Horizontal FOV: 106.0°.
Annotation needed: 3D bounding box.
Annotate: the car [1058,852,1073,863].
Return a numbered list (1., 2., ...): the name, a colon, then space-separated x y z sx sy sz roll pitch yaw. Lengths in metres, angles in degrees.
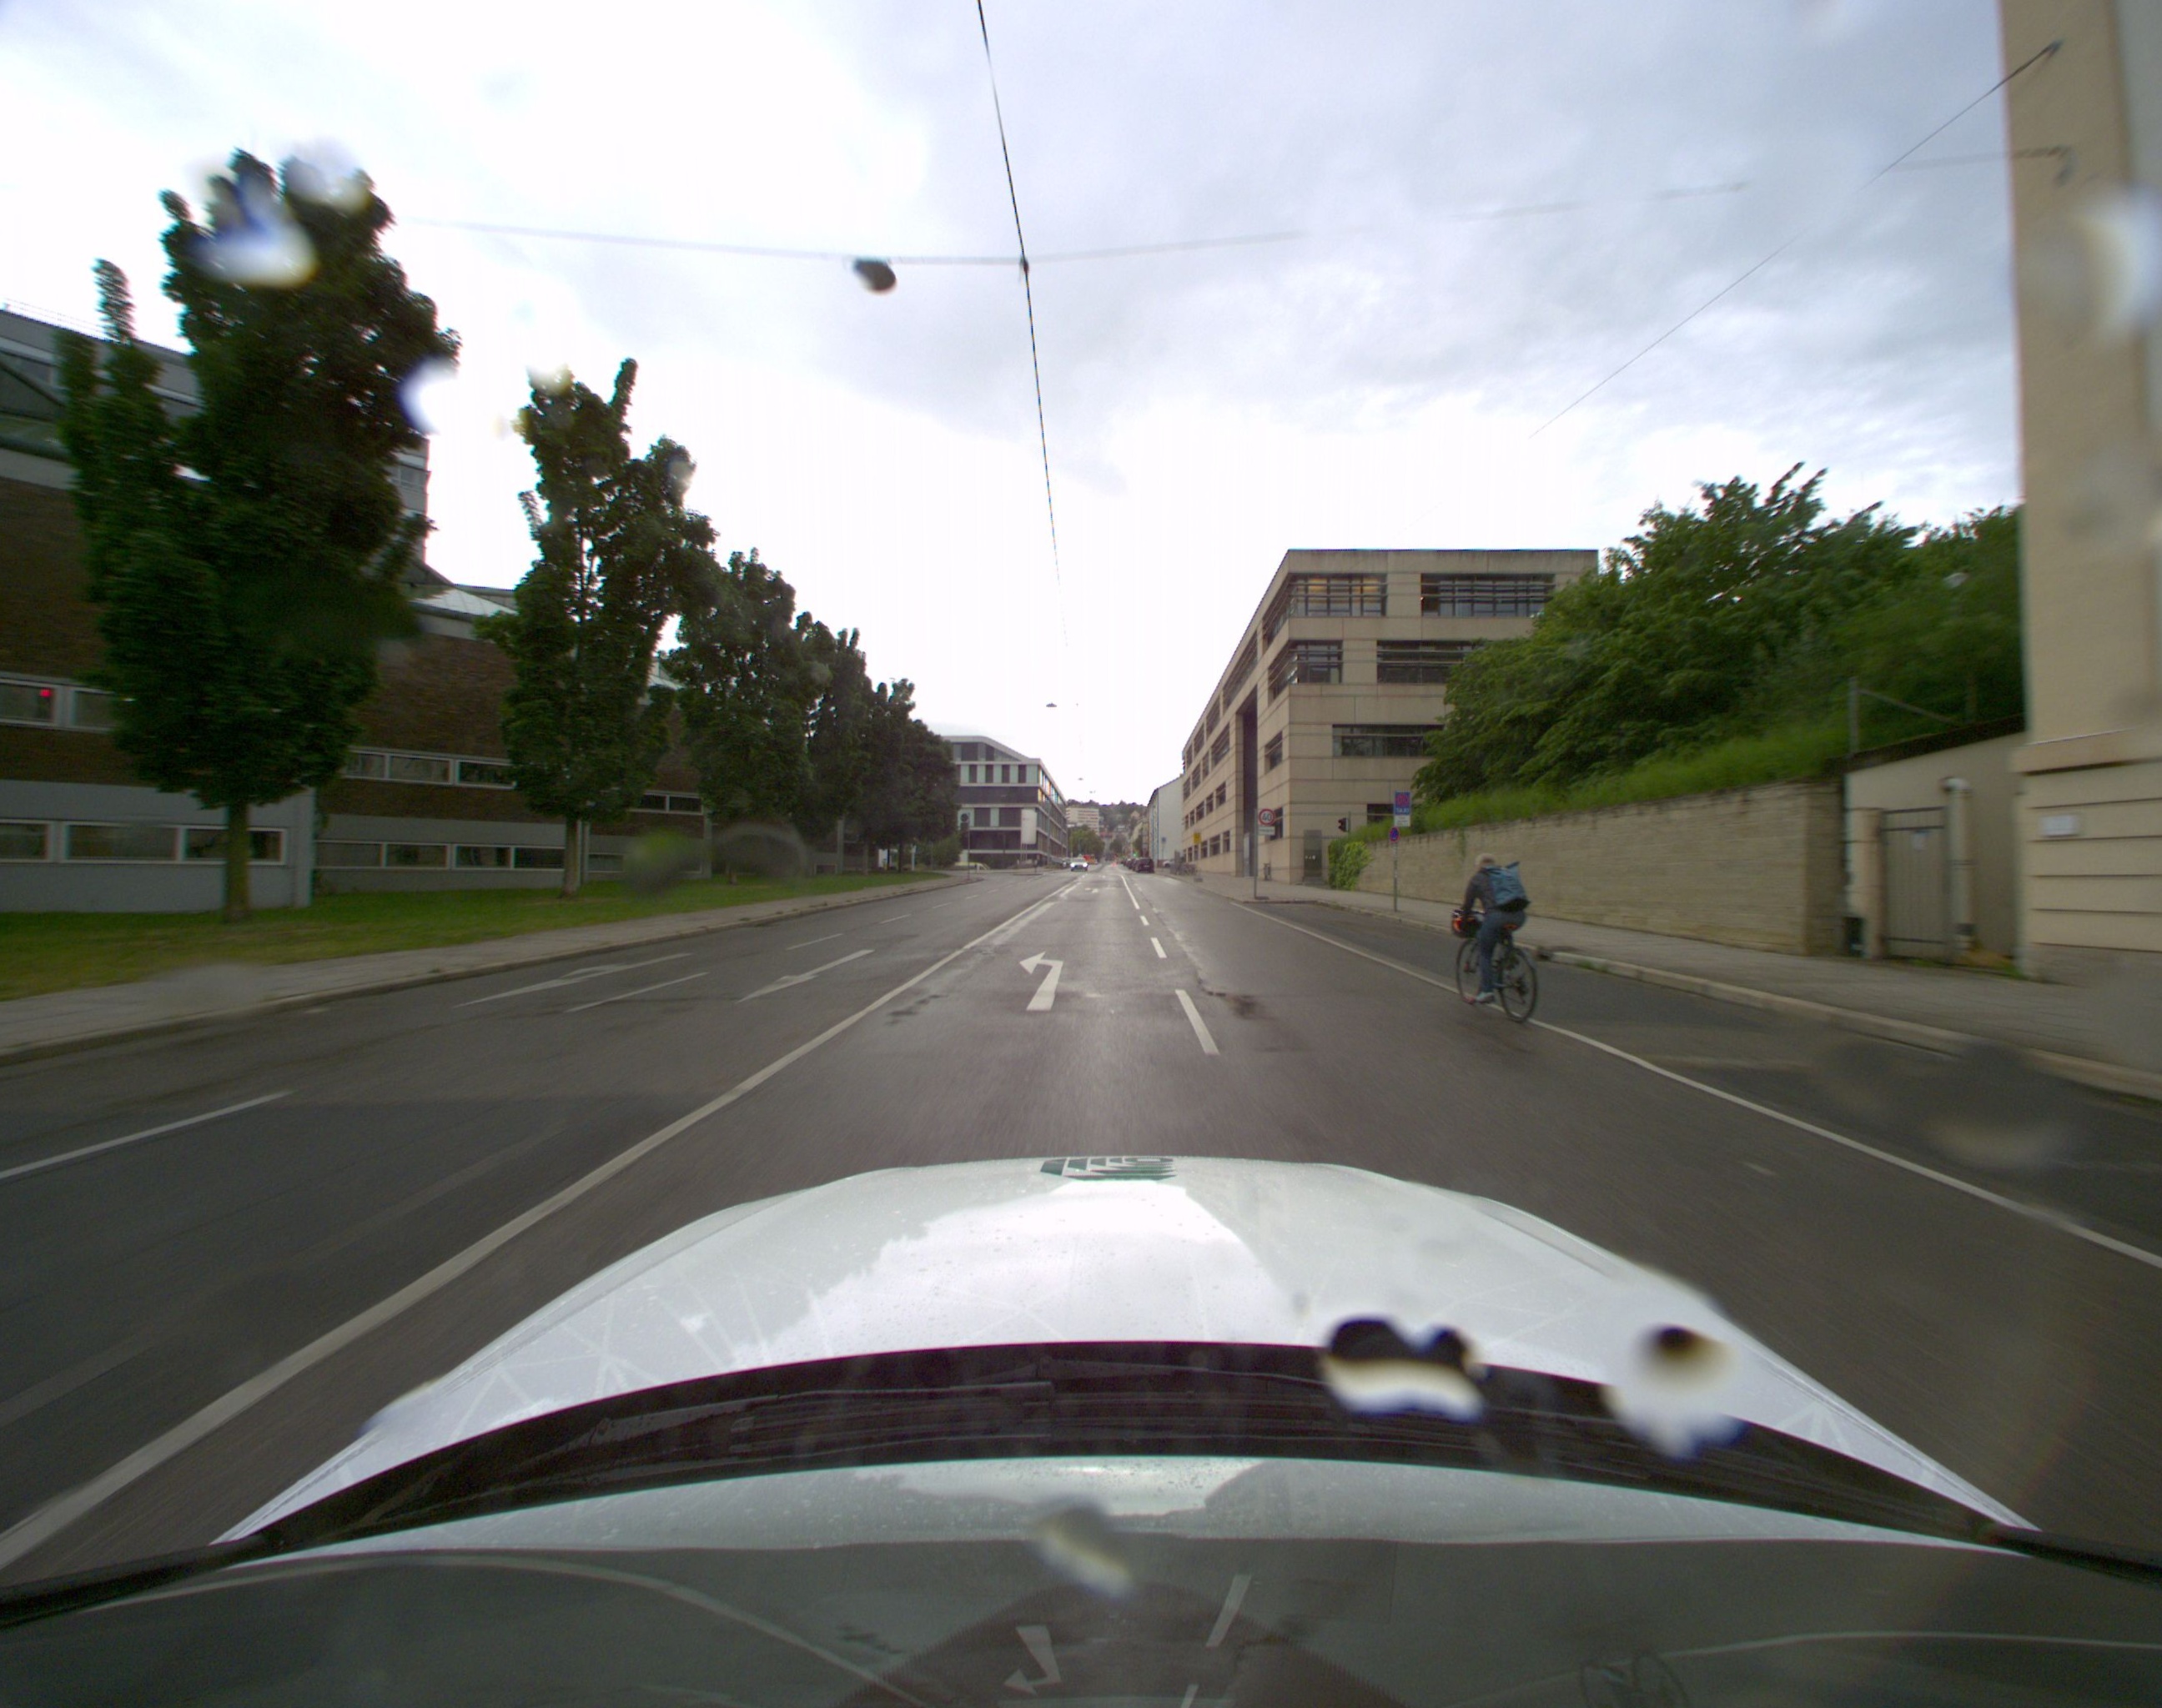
1. car: -2.562 0.541 134.443 1.954 1.750 4.947 1 0 4

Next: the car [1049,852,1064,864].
1. car: -3.481 0.568 117.606 1.842 1.617 4.493 1 0 2

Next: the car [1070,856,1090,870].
1. car: -0.097 1.080 97.300 1.873 1.491 5.226 -2 0 5

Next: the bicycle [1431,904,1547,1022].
1. bicycle: 4.129 1.054 8.359 0.445 0.963 1.692 1 0 4

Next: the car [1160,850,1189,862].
1. car: 15.039 0.315 130.529 4.422 1.713 1.905 -2 -1 1

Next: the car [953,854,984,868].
1. car: -17.987 1.129 130.307 4.581 2.174 1.928 1 -1 -4

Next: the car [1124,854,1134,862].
1. car: 9.223 0.809 156.458 1.700 1.454 3.986 1 0 2

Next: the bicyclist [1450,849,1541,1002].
1. bicyclist: 4.132 0.682 8.166 0.482 1.433 0.931 1 -1 4

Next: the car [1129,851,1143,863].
1. car: 8.204 0.509 121.855 1.928 1.750 4.798 1 0 2

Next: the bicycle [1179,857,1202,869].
1. bicycle: 8.763 0.753 65.423 1.753 0.953 0.659 0 -1 -2

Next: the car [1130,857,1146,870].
1. car: 7.389 1.212 105.369 1.737 1.533 4.319 1 0 1

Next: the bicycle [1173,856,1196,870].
1. bicycle: 8.448 0.706 66.412 1.725 1.119 0.659 0 -1 -4

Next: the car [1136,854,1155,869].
1. car: 7.052 0.838 89.317 1.765 1.604 4.395 1 0 1

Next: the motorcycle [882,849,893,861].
1. motorcycle: -19.328 0.128 81.322 1.211 1.185 0.415 1 -1 39
